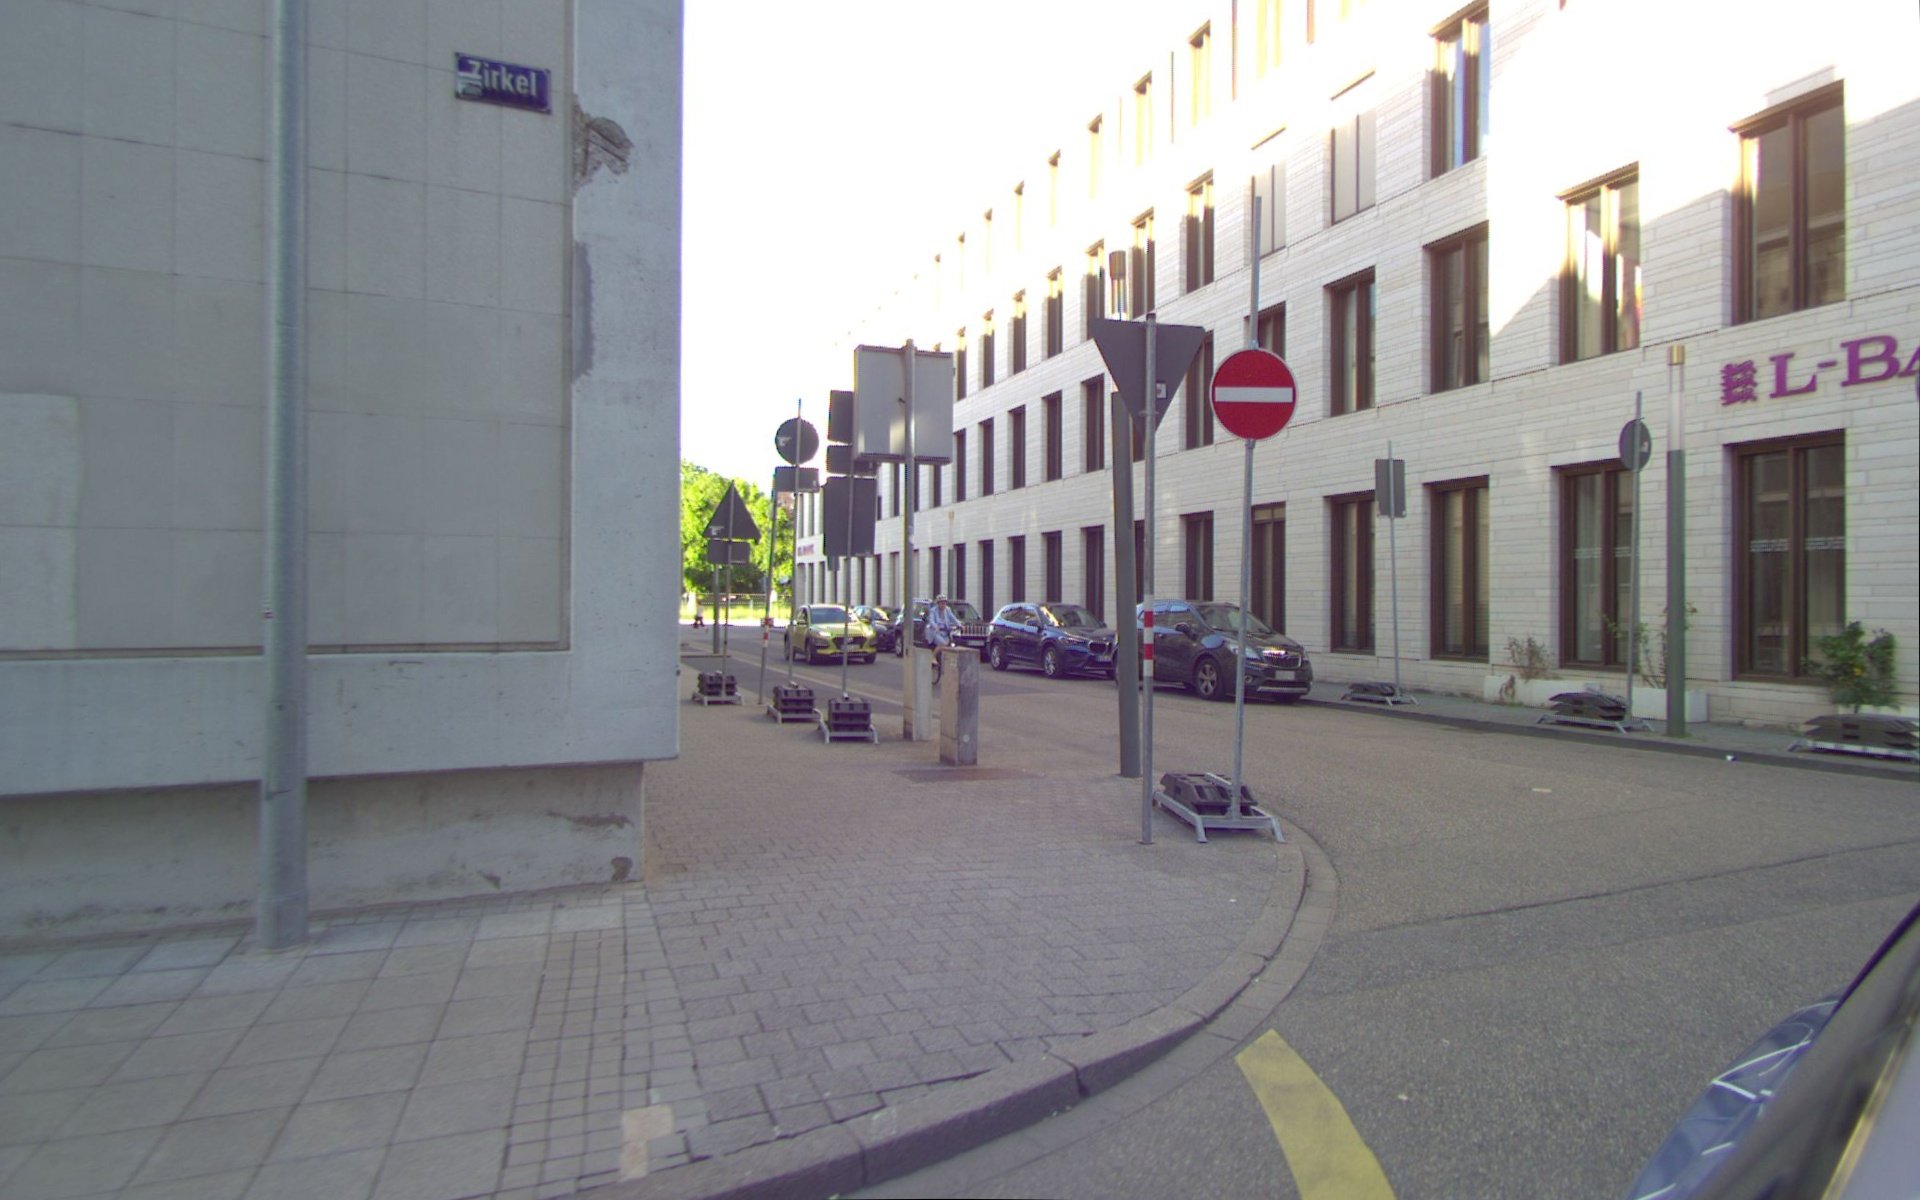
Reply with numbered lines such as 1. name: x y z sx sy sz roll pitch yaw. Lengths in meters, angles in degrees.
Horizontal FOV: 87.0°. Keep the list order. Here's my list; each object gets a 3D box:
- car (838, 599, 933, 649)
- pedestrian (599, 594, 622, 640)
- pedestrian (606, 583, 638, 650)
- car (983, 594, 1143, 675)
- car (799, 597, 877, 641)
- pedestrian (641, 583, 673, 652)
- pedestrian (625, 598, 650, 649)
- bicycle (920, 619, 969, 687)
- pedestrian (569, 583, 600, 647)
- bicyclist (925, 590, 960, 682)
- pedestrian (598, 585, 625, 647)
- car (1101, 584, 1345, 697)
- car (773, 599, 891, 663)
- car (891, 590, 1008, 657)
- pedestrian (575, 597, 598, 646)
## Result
1. car: -2.582 0.762 34.040 1.790 1.561 4.270 0 0 -25
2. pedestrian: -12.768 0.626 36.955 0.671 1.657 0.695 3 -2 -21
3. pedestrian: -9.526 0.457 28.535 0.671 1.801 0.695 6 -3 -21
4. car: 2.152 0.728 22.385 1.709 1.615 4.161 2 -1 -23
5. car: -4.771 0.716 38.897 1.790 1.561 4.454 1 -1 -23
6. pedestrian: -8.209 0.468 27.426 0.671 1.801 0.594 4 -2 -21
7. pedestrian: -11.242 0.819 35.260 0.671 1.737 0.695 4 -2 -21
8. bicycle: -0.315 0.961 19.086 0.583 1.097 2.314 -1 1 -9
9. pedestrian: -10.963 0.427 29.542 0.671 1.801 0.695 6 -3 -21
10. bicyclist: -0.337 0.664 19.209 0.574 1.710 0.539 -1 1 -9
11. pedestrian: -10.256 0.468 29.759 0.671 1.801 0.695 2 -1 -21
12. car: 4.355 0.653 17.496 1.790 1.699 4.271 2 -1 -24
13. car: -3.574 0.765 27.497 1.959 1.478 4.445 -1 1 -24
14. car: -0.380 0.647 28.411 1.790 1.737 4.024 2 -1 -25
15. pedestrian: -13.551 0.776 36.707 0.671 1.737 0.695 4 -2 -21
